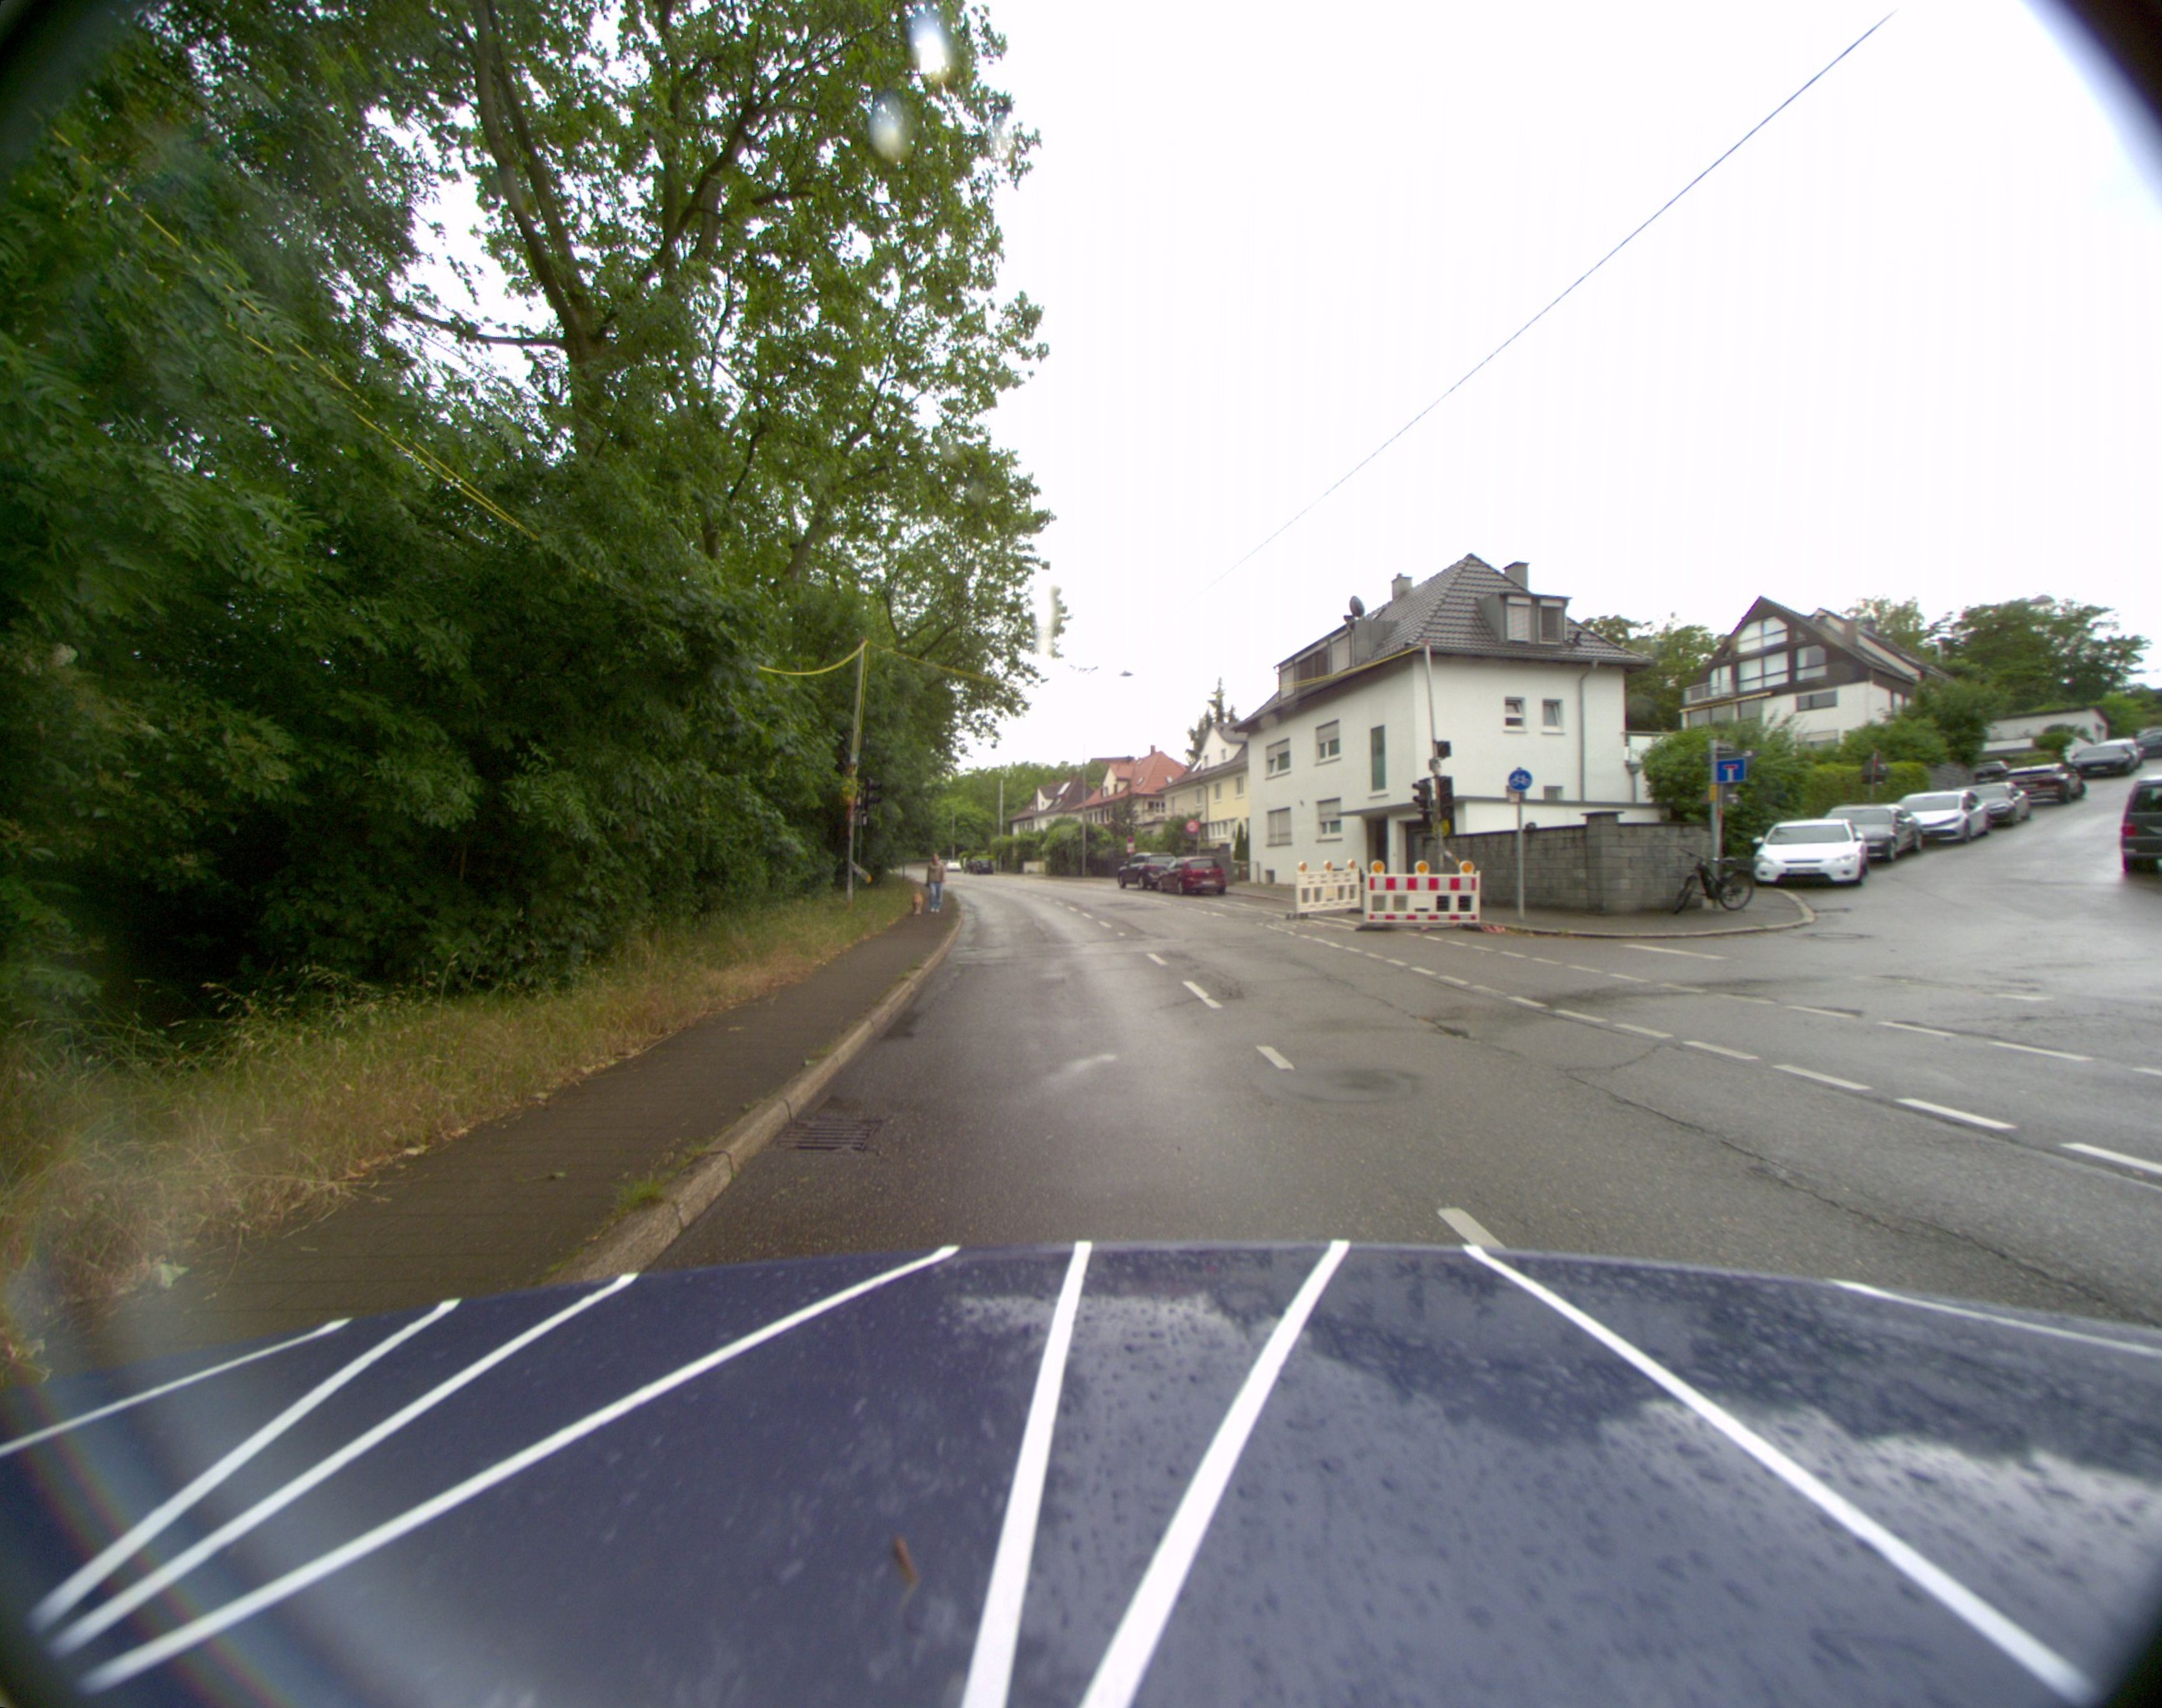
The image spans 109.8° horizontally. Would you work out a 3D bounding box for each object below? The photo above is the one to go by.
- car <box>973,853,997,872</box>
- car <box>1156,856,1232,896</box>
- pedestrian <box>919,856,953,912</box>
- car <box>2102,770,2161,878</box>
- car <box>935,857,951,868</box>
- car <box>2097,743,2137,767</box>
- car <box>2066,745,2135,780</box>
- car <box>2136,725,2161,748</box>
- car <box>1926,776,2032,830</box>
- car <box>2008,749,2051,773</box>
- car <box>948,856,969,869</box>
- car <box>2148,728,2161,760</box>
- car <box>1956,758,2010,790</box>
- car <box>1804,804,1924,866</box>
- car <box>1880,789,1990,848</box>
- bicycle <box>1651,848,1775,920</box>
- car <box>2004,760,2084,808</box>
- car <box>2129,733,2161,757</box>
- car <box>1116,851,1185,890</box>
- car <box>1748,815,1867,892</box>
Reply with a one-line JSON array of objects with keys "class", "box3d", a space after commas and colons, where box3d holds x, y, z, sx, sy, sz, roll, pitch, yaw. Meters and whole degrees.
[{"class": "car", "box3d": [-9.617, 0.840, 75.949, 1.882, 1.814, 4.121, -2, 0, -14]}, {"class": "car", "box3d": [4.373, 0.814, 29.898, 1.787, 1.423, 3.844, -2, 0, -10]}, {"class": "pedestrian", "box3d": [-3.906, 0.797, 20.491, 0.735, 1.490, 0.785, -1, 1, -1]}, {"class": "car", "box3d": [23.874, -0.754, 16.254, 4.497, 2.003, 1.996, -7, 3, -31]}, {"class": "car", "box3d": [-18.751, 1.130, 103.005, 1.691, 1.419, 3.770, -2, 0, -17]}, {"class": "car", "box3d": [59.829, -5.737, 43.891, 2.988, 1.191, 1.305, -6, 3, -35]}, {"class": "car", "box3d": [54.807, -4.875, 40.834, 4.034, 1.511, 1.786, -2, 0, -31]}, {"class": "car", "box3d": [81.111, -8.859, 55.953, 1.754, 1.508, 3.961, -3, 1, -35]}, {"class": "car", "box3d": [32.318, -1.832, 27.327, 4.111, 1.430, 1.921, -9, 4, -33]}, {"class": "car", "box3d": [57.231, -5.633, 45.859, 3.656, 1.205, 1.577, -7, 3, -38]}, {"class": "car", "box3d": [-15.244, 1.069, 94.169, 2.071, 1.477, 4.556, -2, 0, -16]}, {"class": "car", "box3d": [72.457, -7.440, 48.975, 2.003, 2.000, 3.993, -2, -4, -32]}, {"class": "car", "box3d": [52.859, -4.645, 44.510, 4.020, 1.545, 1.812, -3, 1, -37]}, {"class": "car", "box3d": [22.455, -0.560, 21.752, 3.910, 1.380, 1.719, -7, 3, -34]}, {"class": "car", "box3d": [27.260, -1.153, 24.225, 3.951, 1.462, 1.755, -7, 3, -33]}, {"class": "bicycle", "box3d": [11.578, 0.533, 13.928, 2.006, 1.232, 0.510, -2, 3, -8]}, {"class": "car", "box3d": [40.711, -2.982, 32.106, 4.004, 1.617, 1.638, -8, 4, -32]}, {"class": "car", "box3d": [68.317, -6.931, 47.691, 1.286, 1.310, 2.945, -3, 1, -36]}, {"class": "car", "box3d": [3.121, 0.728, 35.026, 1.798, 1.630, 4.150, -1, 0, -15]}, {"class": "car", "box3d": [17.767, -0.051, 18.530, 4.126, 1.455, 1.849, -7, 4, -43]}]
